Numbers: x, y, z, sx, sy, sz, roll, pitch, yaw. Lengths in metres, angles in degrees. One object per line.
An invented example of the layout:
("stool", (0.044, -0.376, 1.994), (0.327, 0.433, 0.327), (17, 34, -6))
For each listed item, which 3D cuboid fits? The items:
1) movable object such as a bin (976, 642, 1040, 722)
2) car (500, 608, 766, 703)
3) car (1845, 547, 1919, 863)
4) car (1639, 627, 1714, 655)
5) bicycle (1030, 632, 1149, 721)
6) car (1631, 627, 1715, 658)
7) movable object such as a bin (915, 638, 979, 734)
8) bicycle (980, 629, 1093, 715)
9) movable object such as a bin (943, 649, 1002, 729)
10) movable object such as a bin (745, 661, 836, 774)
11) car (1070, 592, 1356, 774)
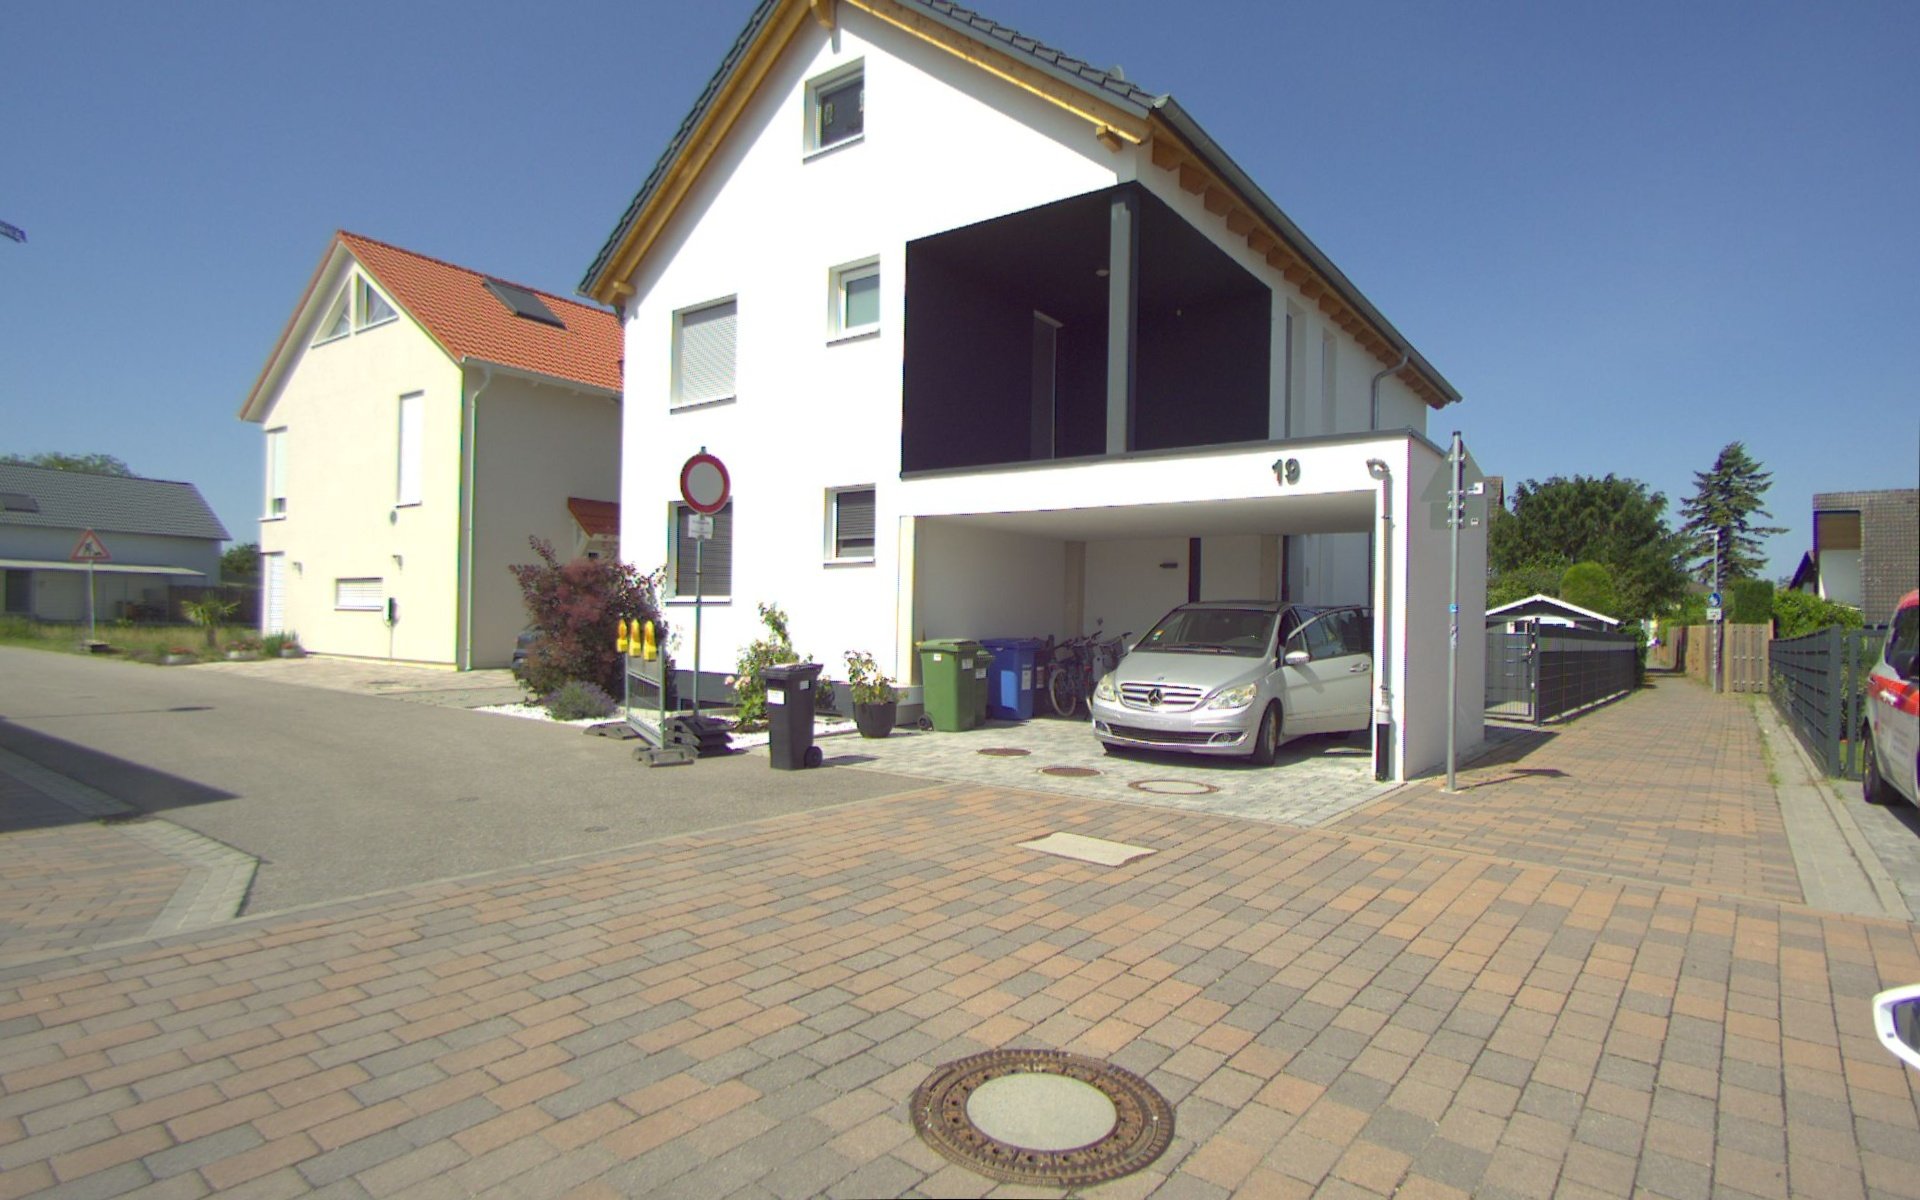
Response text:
("movable object such as a bin", (0.639, 1.073, 13.382), (0.666, 1.000, 0.498), (2, 0, 35))
("car", (-5.400, 0.874, 17.040), (1.727, 1.399, 4.047), (0, -1, 36))
("car", (7.484, 0.685, 6.742), (1.907, 1.899, 4.734), (1, -1, 37))
("car", (48.534, 2.763, 68.065), (4.094, 1.739, 1.898), (0, -1, 37))
("bicycle", (1.877, 1.040, 14.283), (0.719, 1.141, 2.126), (2, 0, 36))
("car", (43.351, 2.564, 61.127), (4.094, 1.739, 1.898), (0, -1, 37))
("movable object such as a bin", (-0.151, 1.017, 12.090), (0.592, 1.106, 0.498), (-1, -2, 35))
("bicycle", (1.175, 1.021, 14.860), (0.765, 1.141, 2.128), (2, 0, 31))
("movable object such as a bin", (0.158, 1.097, 12.576), (0.552, 0.917, 0.498), (2, 2, 35))
("movable object such as a bin", (-1.542, 1.051, 9.168), (0.555, 0.949, 0.616), (0, -1, 35))
("car", (2.933, 0.788, 10.938), (1.716, 1.582, 4.154), (0, -2, 34))
